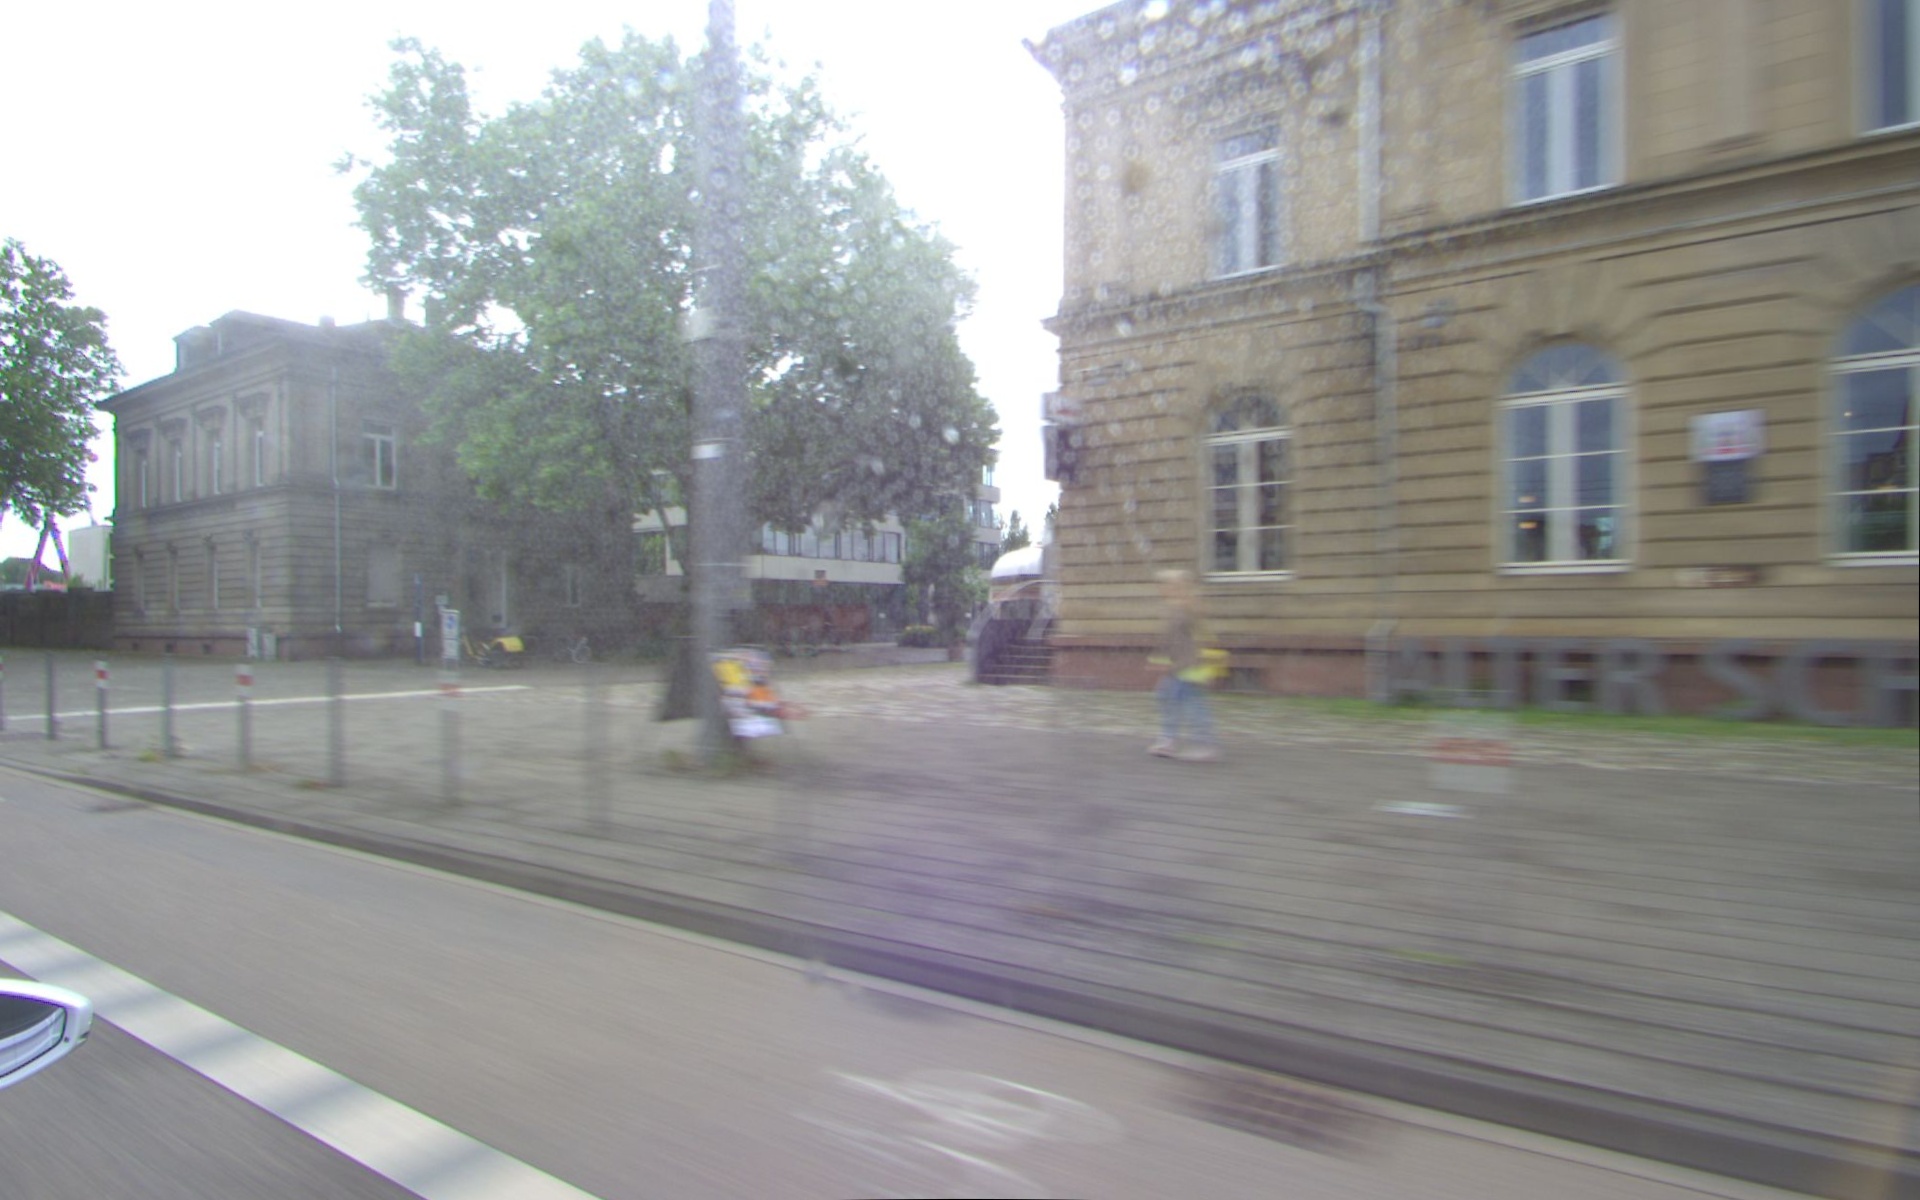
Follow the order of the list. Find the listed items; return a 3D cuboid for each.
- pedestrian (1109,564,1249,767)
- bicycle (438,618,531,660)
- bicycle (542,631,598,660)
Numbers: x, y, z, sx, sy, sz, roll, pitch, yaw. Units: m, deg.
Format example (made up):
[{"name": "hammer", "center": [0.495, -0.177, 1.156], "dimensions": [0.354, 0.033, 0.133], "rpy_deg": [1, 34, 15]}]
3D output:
[{"name": "pedestrian", "center": [1.962, 0.559, 8.985], "dimensions": [0.989, 1.700, 0.714], "rpy_deg": [-1, 0, 44]}, {"name": "bicycle", "center": [-14.425, 1.150, 30.341], "dimensions": [3.357, 1.083, 0.898], "rpy_deg": [2, 1, 33]}, {"name": "bicycle", "center": [-12.682, 1.458, 32.522], "dimensions": [2.052, 0.883, 0.608], "rpy_deg": [0, 0, 33]}]
